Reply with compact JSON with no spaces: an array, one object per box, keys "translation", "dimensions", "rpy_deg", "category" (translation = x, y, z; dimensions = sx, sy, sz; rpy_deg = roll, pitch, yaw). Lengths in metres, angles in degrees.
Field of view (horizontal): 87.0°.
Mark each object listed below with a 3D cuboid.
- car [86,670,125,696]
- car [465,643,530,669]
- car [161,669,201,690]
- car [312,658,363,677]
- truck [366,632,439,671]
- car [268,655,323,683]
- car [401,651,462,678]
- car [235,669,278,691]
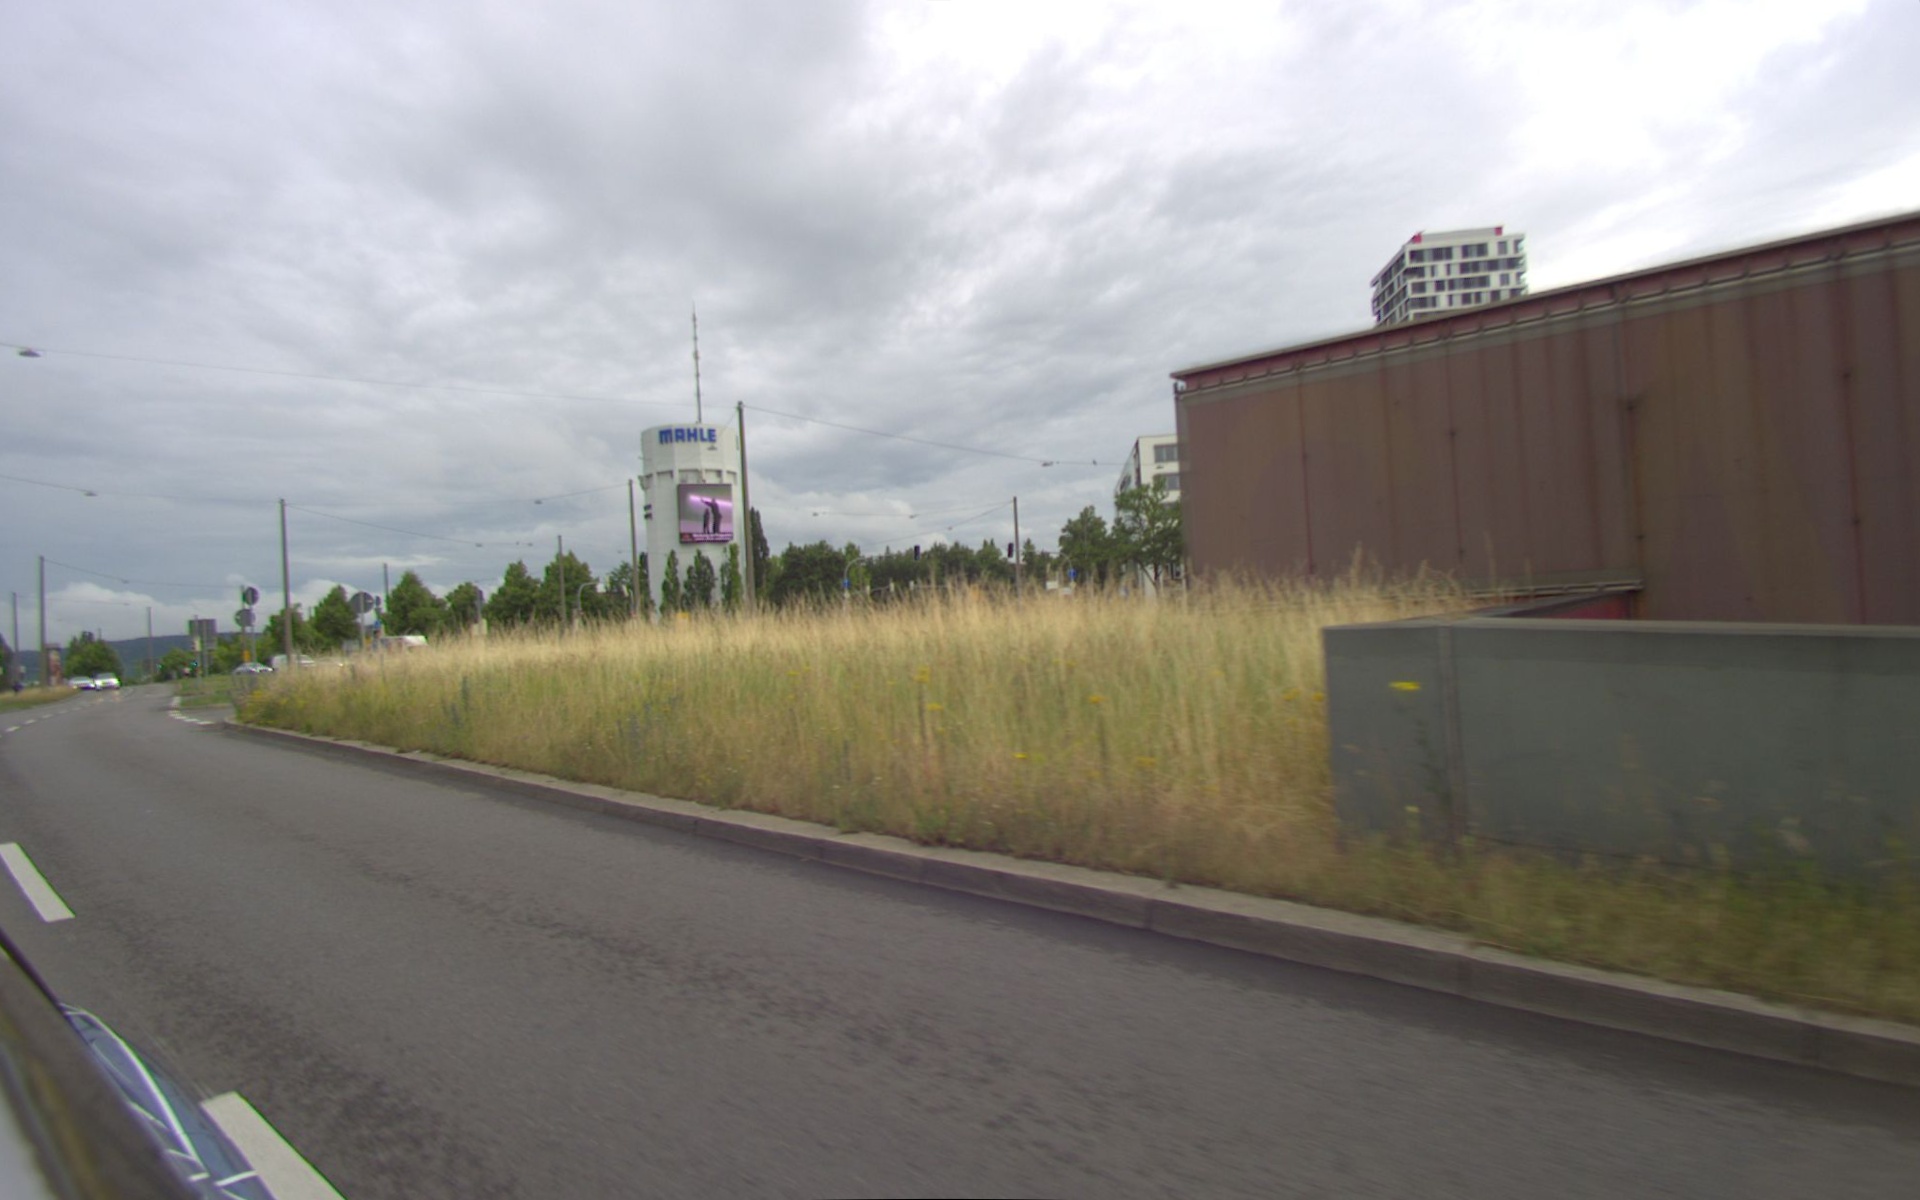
[{"translation":[-77.739,7.594,92.063],"dimensions":[3.997,2.028,1.974],"rpy_deg":[-6,0,41],"category":"car"},{"translation":[-37.612,4.562,82.334],"dimensions":[4.480,1.695,1.990],"rpy_deg":[-4,-1,16],"category":"car"},{"translation":[-81.196,8.261,105.451],"dimensions":[5.162,1.814,1.975],"rpy_deg":[-6,0,38],"category":"car"},{"translation":[-58.012,6.307,94.280],"dimensions":[4.511,1.320,1.981],"rpy_deg":[-6,0,29],"category":"car"},{"translation":[-49.829,4.637,90.421],"dimensions":[5.987,2.855,2.117],"rpy_deg":[-6,0,21],"category":"truck"},{"translation":[-64.320,6.718,97.992],"dimensions":[5.290,2.197,2.350],"rpy_deg":[-6,0,32],"category":"car"},{"translation":[-43.709,5.326,83.708],"dimensions":[4.490,1.695,1.986],"rpy_deg":[-6,0,22],"category":"car"},{"translation":[-71.143,8.128,102.309],"dimensions":[5.162,1.814,1.975],"rpy_deg":[-6,0,38],"category":"car"}]
